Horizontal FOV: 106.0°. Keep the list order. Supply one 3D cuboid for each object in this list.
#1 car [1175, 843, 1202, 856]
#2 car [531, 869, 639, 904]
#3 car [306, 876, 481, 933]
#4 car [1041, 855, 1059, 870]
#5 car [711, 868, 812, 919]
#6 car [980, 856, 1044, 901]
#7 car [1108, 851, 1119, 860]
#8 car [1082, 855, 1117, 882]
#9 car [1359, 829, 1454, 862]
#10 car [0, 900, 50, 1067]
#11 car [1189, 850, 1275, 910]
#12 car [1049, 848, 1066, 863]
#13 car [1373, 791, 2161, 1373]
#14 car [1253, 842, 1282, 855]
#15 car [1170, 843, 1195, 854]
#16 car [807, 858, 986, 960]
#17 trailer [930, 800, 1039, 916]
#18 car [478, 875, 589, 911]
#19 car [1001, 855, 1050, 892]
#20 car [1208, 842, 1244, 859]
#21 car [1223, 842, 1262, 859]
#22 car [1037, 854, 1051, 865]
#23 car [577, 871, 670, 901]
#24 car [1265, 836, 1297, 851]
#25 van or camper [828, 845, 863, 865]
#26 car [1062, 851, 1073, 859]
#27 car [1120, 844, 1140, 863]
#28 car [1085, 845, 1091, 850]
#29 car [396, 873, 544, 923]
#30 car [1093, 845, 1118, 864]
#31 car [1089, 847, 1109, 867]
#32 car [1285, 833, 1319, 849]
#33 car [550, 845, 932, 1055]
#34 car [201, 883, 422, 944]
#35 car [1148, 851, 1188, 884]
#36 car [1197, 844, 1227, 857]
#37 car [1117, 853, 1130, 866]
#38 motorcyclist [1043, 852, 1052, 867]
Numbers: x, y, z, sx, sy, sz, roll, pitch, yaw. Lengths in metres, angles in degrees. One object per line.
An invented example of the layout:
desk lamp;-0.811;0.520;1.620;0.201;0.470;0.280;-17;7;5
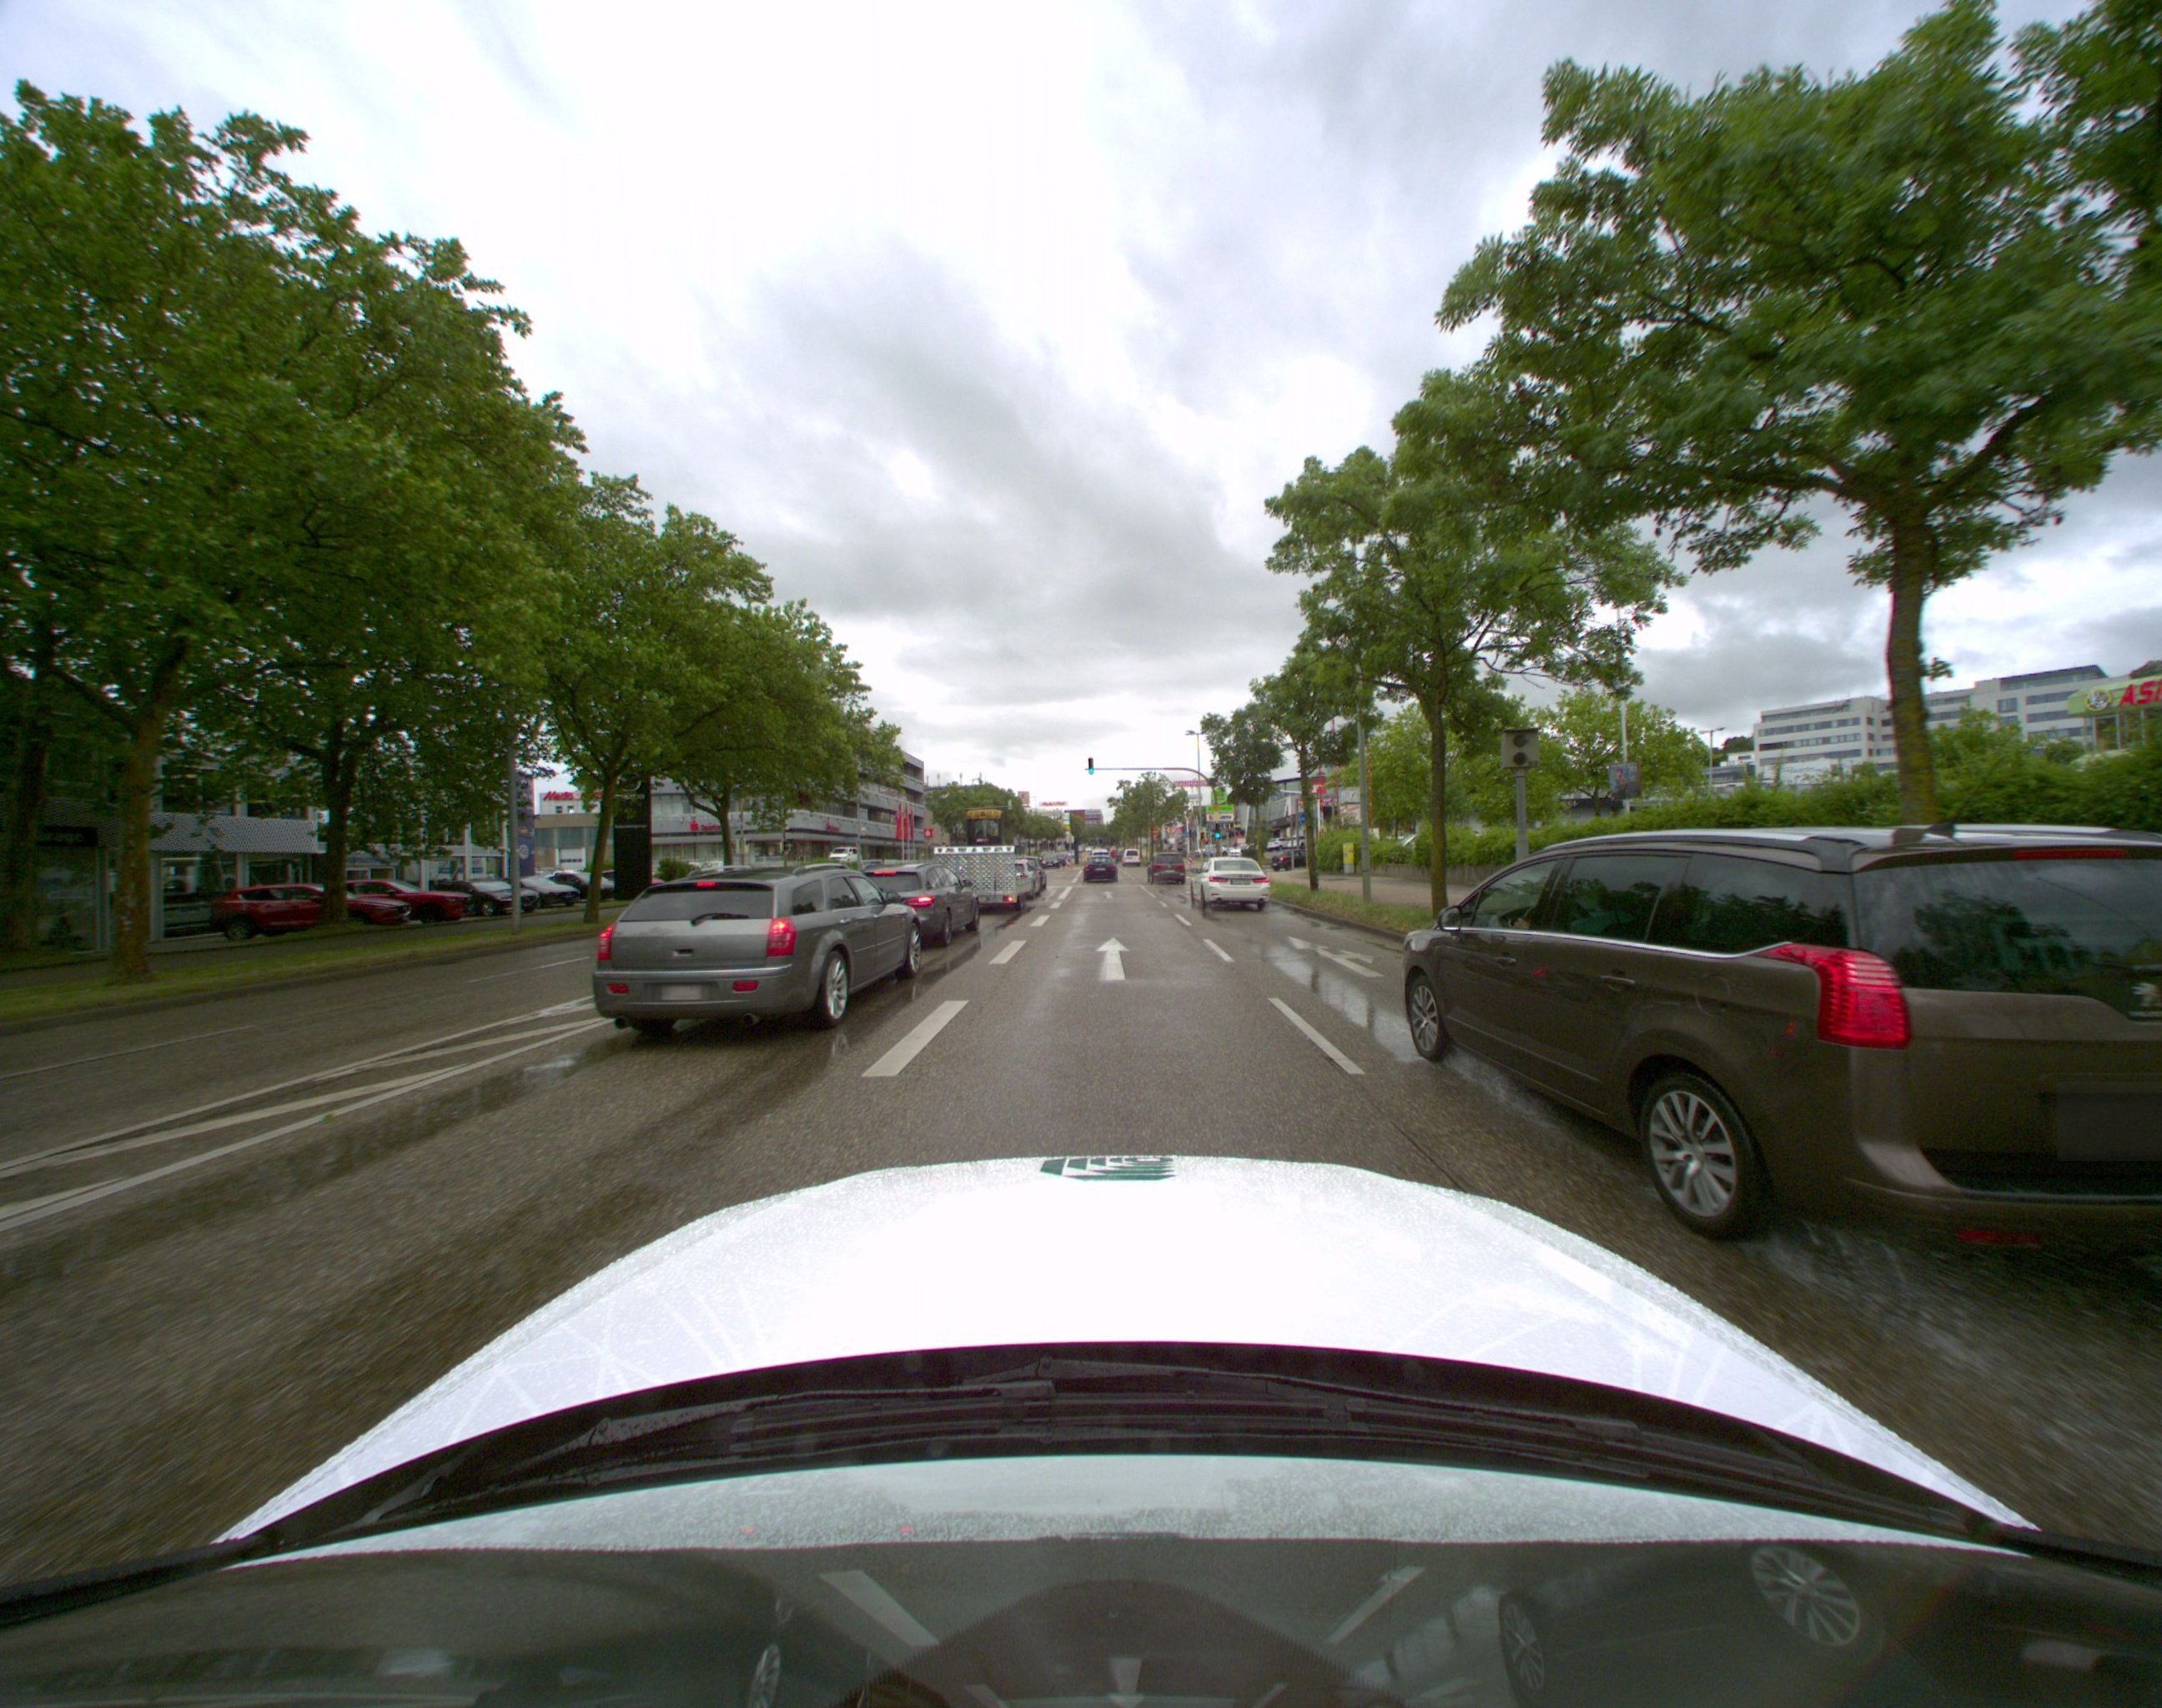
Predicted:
car;17.288;-0.781;130.937;4.094;1.904;1.801;-2;0;3
car;-24.027;1.557;39.556;3.971;1.489;1.877;-2;0;-4
car;-24.113;1.728;28.772;4.235;1.653;1.998;-3;-1;-22
car;-3.095;0.834;81.795;1.678;1.377;3.997;-2;0;-2
car;-10.614;1.261;27.389;1.704;1.465;4.085;-3;0;0
car;-2.445;0.854;30.083;1.759;1.458;4.782;-2;0;2
car;5.472;0.184;137.691;1.689;1.443;3.991;-2;0;2
car;1.013;0.750;44.765;1.775;1.398;4.001;-1;0;1
car;15.877;-0.392;39.815;3.970;1.442;1.657;-2;0;3
car;-10.494;1.192;5.531;1.704;1.465;4.085;-3;0;0
car;4.235;0.684;23.536;1.794;1.544;4.622;0;0;2
car;-2.598;0.200;90.697;1.740;1.489;4.825;-2;-1;-2
car;3.244;0.637;4.535;1.720;1.624;4.473;-2;0;2
car;25.468;-0.740;111.091;3.995;1.720;1.615;-2;0;-38
car;17.305;-0.909;138.349;4.089;1.703;1.803;-2;0;7
car;-3.155;0.875;15.023;1.985;1.429;4.557;-3;0;3
trailer;-2.627;0.112;23.761;2.365;2.897;5.545;-2;0;0
car;-24.535;1.727;36.587;3.732;1.391;1.688;-2;0;-4
car;-2.391;0.821;36.040;1.707;1.489;4.079;-2;0;1
car;17.048;-0.441;95.675;4.047;1.662;1.960;-4;1;-38
car;16.599;-0.369;83.716;1.908;1.576;4.314;-2;0;43
car;-5.497;0.787;121.630;1.906;1.608;4.360;-2;0;-2
car;-23.554;1.615;42.026;3.732;1.294;1.688;-3;0;-4
car;25.690;-1.399;104.411;4.174;1.771;1.718;-2;0;-38
van or camper;-23.523;0.155;81.638;1.986;1.967;4.789;0;-1;1
car;-2.355;0.200;148.009;1.717;1.398;4.790;-4;0;1
car;5.088;-0.018;84.962;1.775;1.866;4.001;-2;0;1
car;2.167;-1.929;247.182;1.936;1.448;4.000;-1;0;1
car;-24.107;1.688;32.336;4.235;1.596;1.985;-3;0;-22
car;1.826;0.041;61.787;1.678;1.377;3.997;-2;0;-2
car;1.908;0.337;84.435;1.986;2.014;4.001;0;-1;2
car;25.734;-1.502;94.734;4.177;1.771;1.717;-2;0;-42
car;-3.138;0.766;8.871;1.900;1.578;4.882;-2;0;2
car;-23.820;1.792;25.456;4.571;1.596;1.986;-1;-1;-21
car;4.412;0.637;41.899;1.794;1.587;4.453;0;0;2
car;16.334;-0.414;101.438;3.616;1.536;1.625;-2;0;-38
car;5.603;0.736;108.377;1.678;1.684;3.404;0;-1;2
motorcyclist;-3.560;0.531;86.415;0.804;1.559;1.267;-2;0;0
